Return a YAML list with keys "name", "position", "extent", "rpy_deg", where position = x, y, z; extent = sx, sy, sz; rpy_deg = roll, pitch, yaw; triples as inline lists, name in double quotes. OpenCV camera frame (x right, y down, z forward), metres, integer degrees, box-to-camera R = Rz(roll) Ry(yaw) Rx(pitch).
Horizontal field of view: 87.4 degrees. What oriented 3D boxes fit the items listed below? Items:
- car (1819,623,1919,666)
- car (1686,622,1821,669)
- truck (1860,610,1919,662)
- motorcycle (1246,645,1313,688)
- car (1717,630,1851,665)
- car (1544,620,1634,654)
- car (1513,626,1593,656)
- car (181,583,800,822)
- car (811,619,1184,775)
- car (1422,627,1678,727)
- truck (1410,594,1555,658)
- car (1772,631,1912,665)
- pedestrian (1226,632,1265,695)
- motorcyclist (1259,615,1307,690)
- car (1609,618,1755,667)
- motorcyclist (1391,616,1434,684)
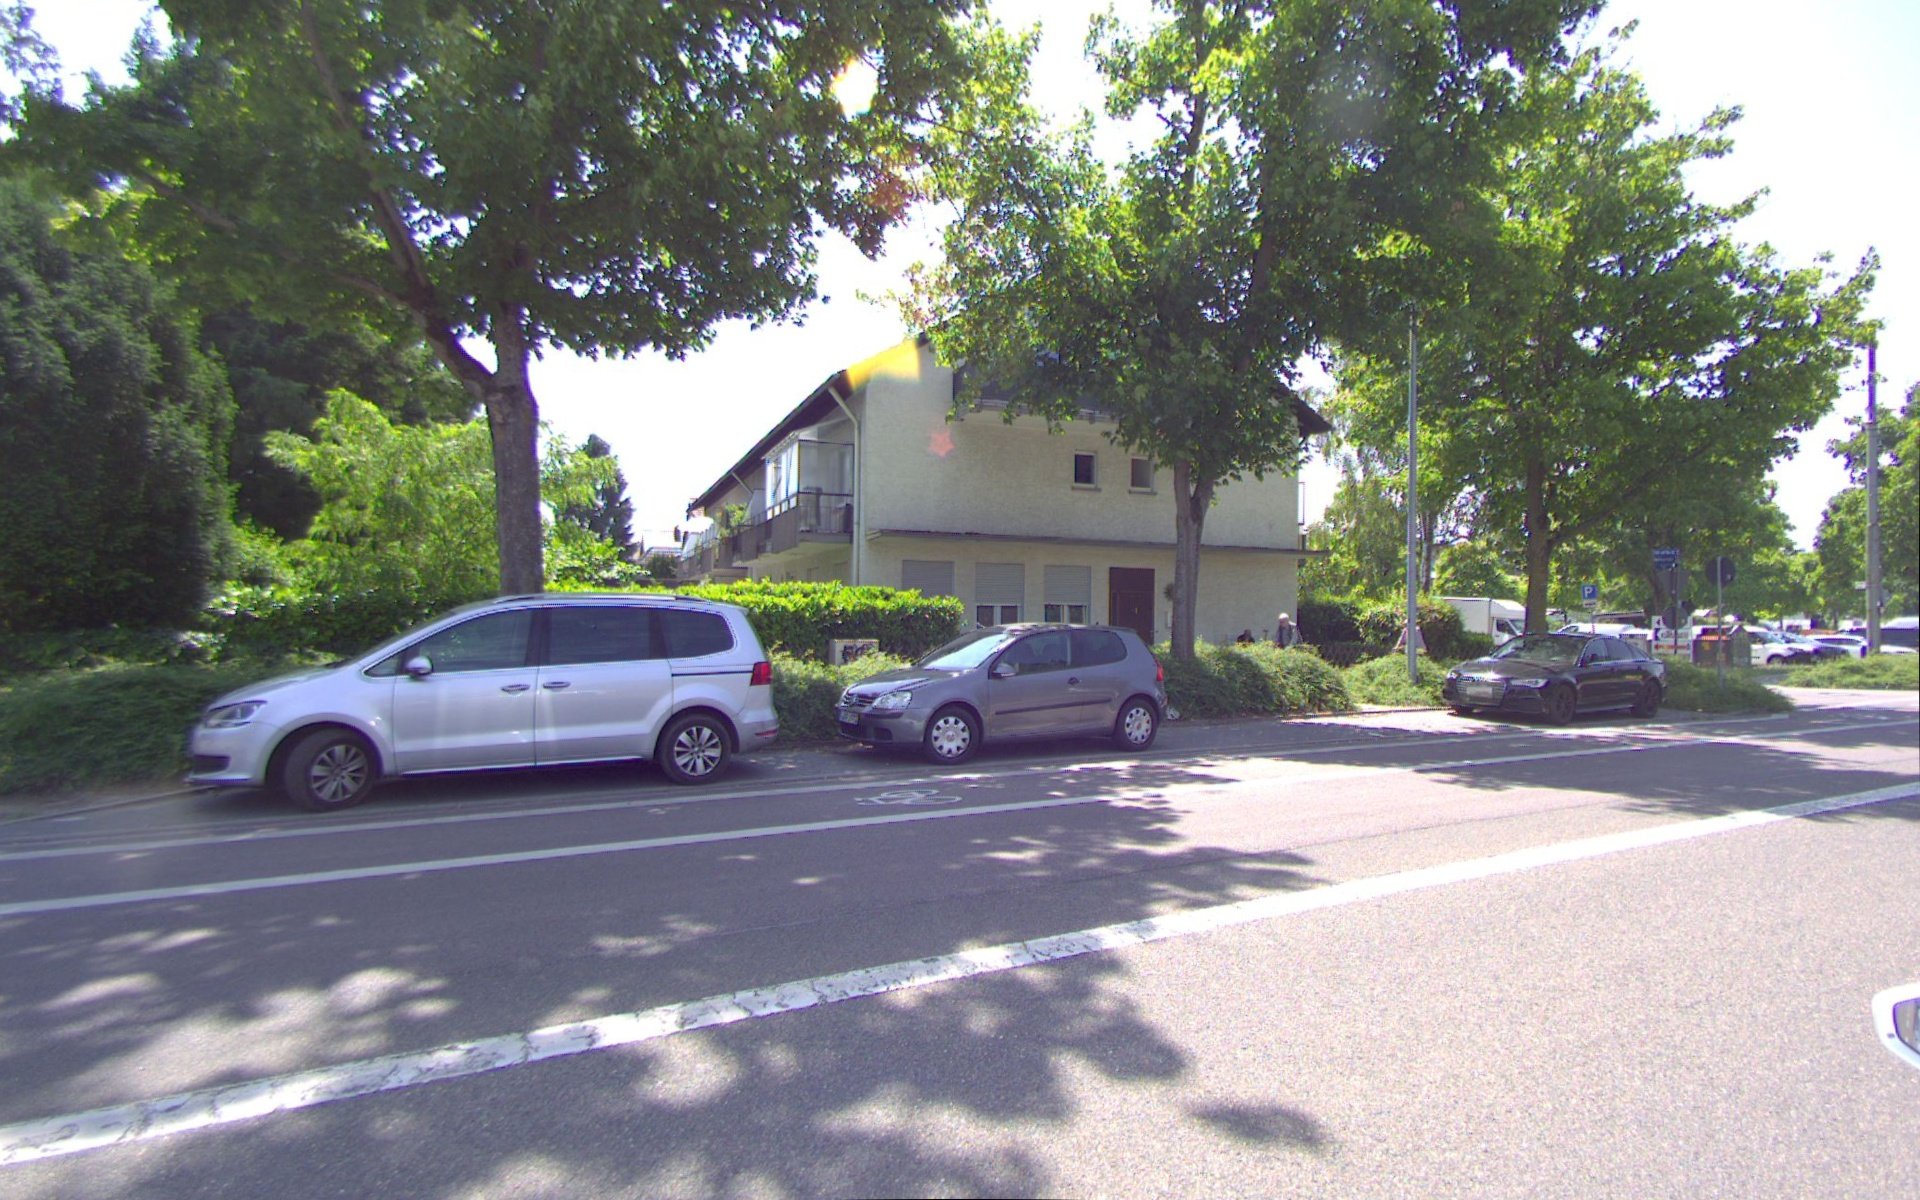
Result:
- name: "car"
  position: [45.324, 2.165, 49.518]
  extent: [1.835, 2.021, 4.189]
  rpy_deg: [1, -1, -30]
- name: "car"
  position: [33.672, 1.898, 42.750]
  extent: [1.651, 1.860, 4.251]
  rpy_deg: [1, -1, -27]
- name: "truck"
  position: [52.032, 1.922, 53.557]
  extent: [2.402, 2.796, 5.556]
  rpy_deg: [1, -1, -28]
- name: "motorcycle"
  position: [6.728, 1.394, 21.150]
  extent: [1.354, 0.837, 0.523]
  rpy_deg: [1, 2, -29]
- name: "car"
  position: [36.165, 2.064, 44.166]
  extent: [2.059, 1.422, 4.171]
  rpy_deg: [1, -2, -33]
- name: "car"
  position: [37.092, 2.150, 59.329]
  extent: [1.948, 1.844, 4.108]
  rpy_deg: [2, -1, -30]
- name: "car"
  position: [34.735, 2.366, 58.917]
  extent: [1.712, 1.597, 3.729]
  rpy_deg: [1, -1, -30]
- name: "car"
  position: [-3.998, 0.773, 9.184]
  extent: [4.630, 1.711, 1.962]
  rpy_deg: [1, 0, -29]
- name: "car"
  position: [0.492, 1.011, 11.693]
  extent: [4.080, 1.506, 1.668]
  rpy_deg: [1, 0, -31]
- name: "car"
  position: [10.337, 1.244, 17.483]
  extent: [4.757, 1.476, 1.883]
  rpy_deg: [1, 0, -33]
- name: "truck"
  position: [28.310, 1.346, 54.795]
  extent: [2.126, 3.270, 6.942]
  rpy_deg: [1, 0, -31]
- name: "car"
  position: [42.601, 2.306, 48.657]
  extent: [2.034, 1.508, 4.738]
  rpy_deg: [1, -1, -30]
- name: "pedestrian"
  position: [7.134, 1.578, 25.110]
  extent: [0.599, 1.530, 0.792]
  rpy_deg: [1, -1, -23]
- name: "motorcyclist"
  position: [6.808, 1.094, 21.194]
  extent: [0.716, 1.523, 0.584]
  rpy_deg: [1, 2, -29]
- name: "car"
  position: [29.230, 1.666, 40.781]
  extent: [2.039, 1.881, 4.421]
  rpy_deg: [1, -1, -33]
- name: "motorcyclist"
  position: [10.482, 1.149, 23.277]
  extent: [0.654, 1.523, 0.584]
  rpy_deg: [1, 2, -29]
